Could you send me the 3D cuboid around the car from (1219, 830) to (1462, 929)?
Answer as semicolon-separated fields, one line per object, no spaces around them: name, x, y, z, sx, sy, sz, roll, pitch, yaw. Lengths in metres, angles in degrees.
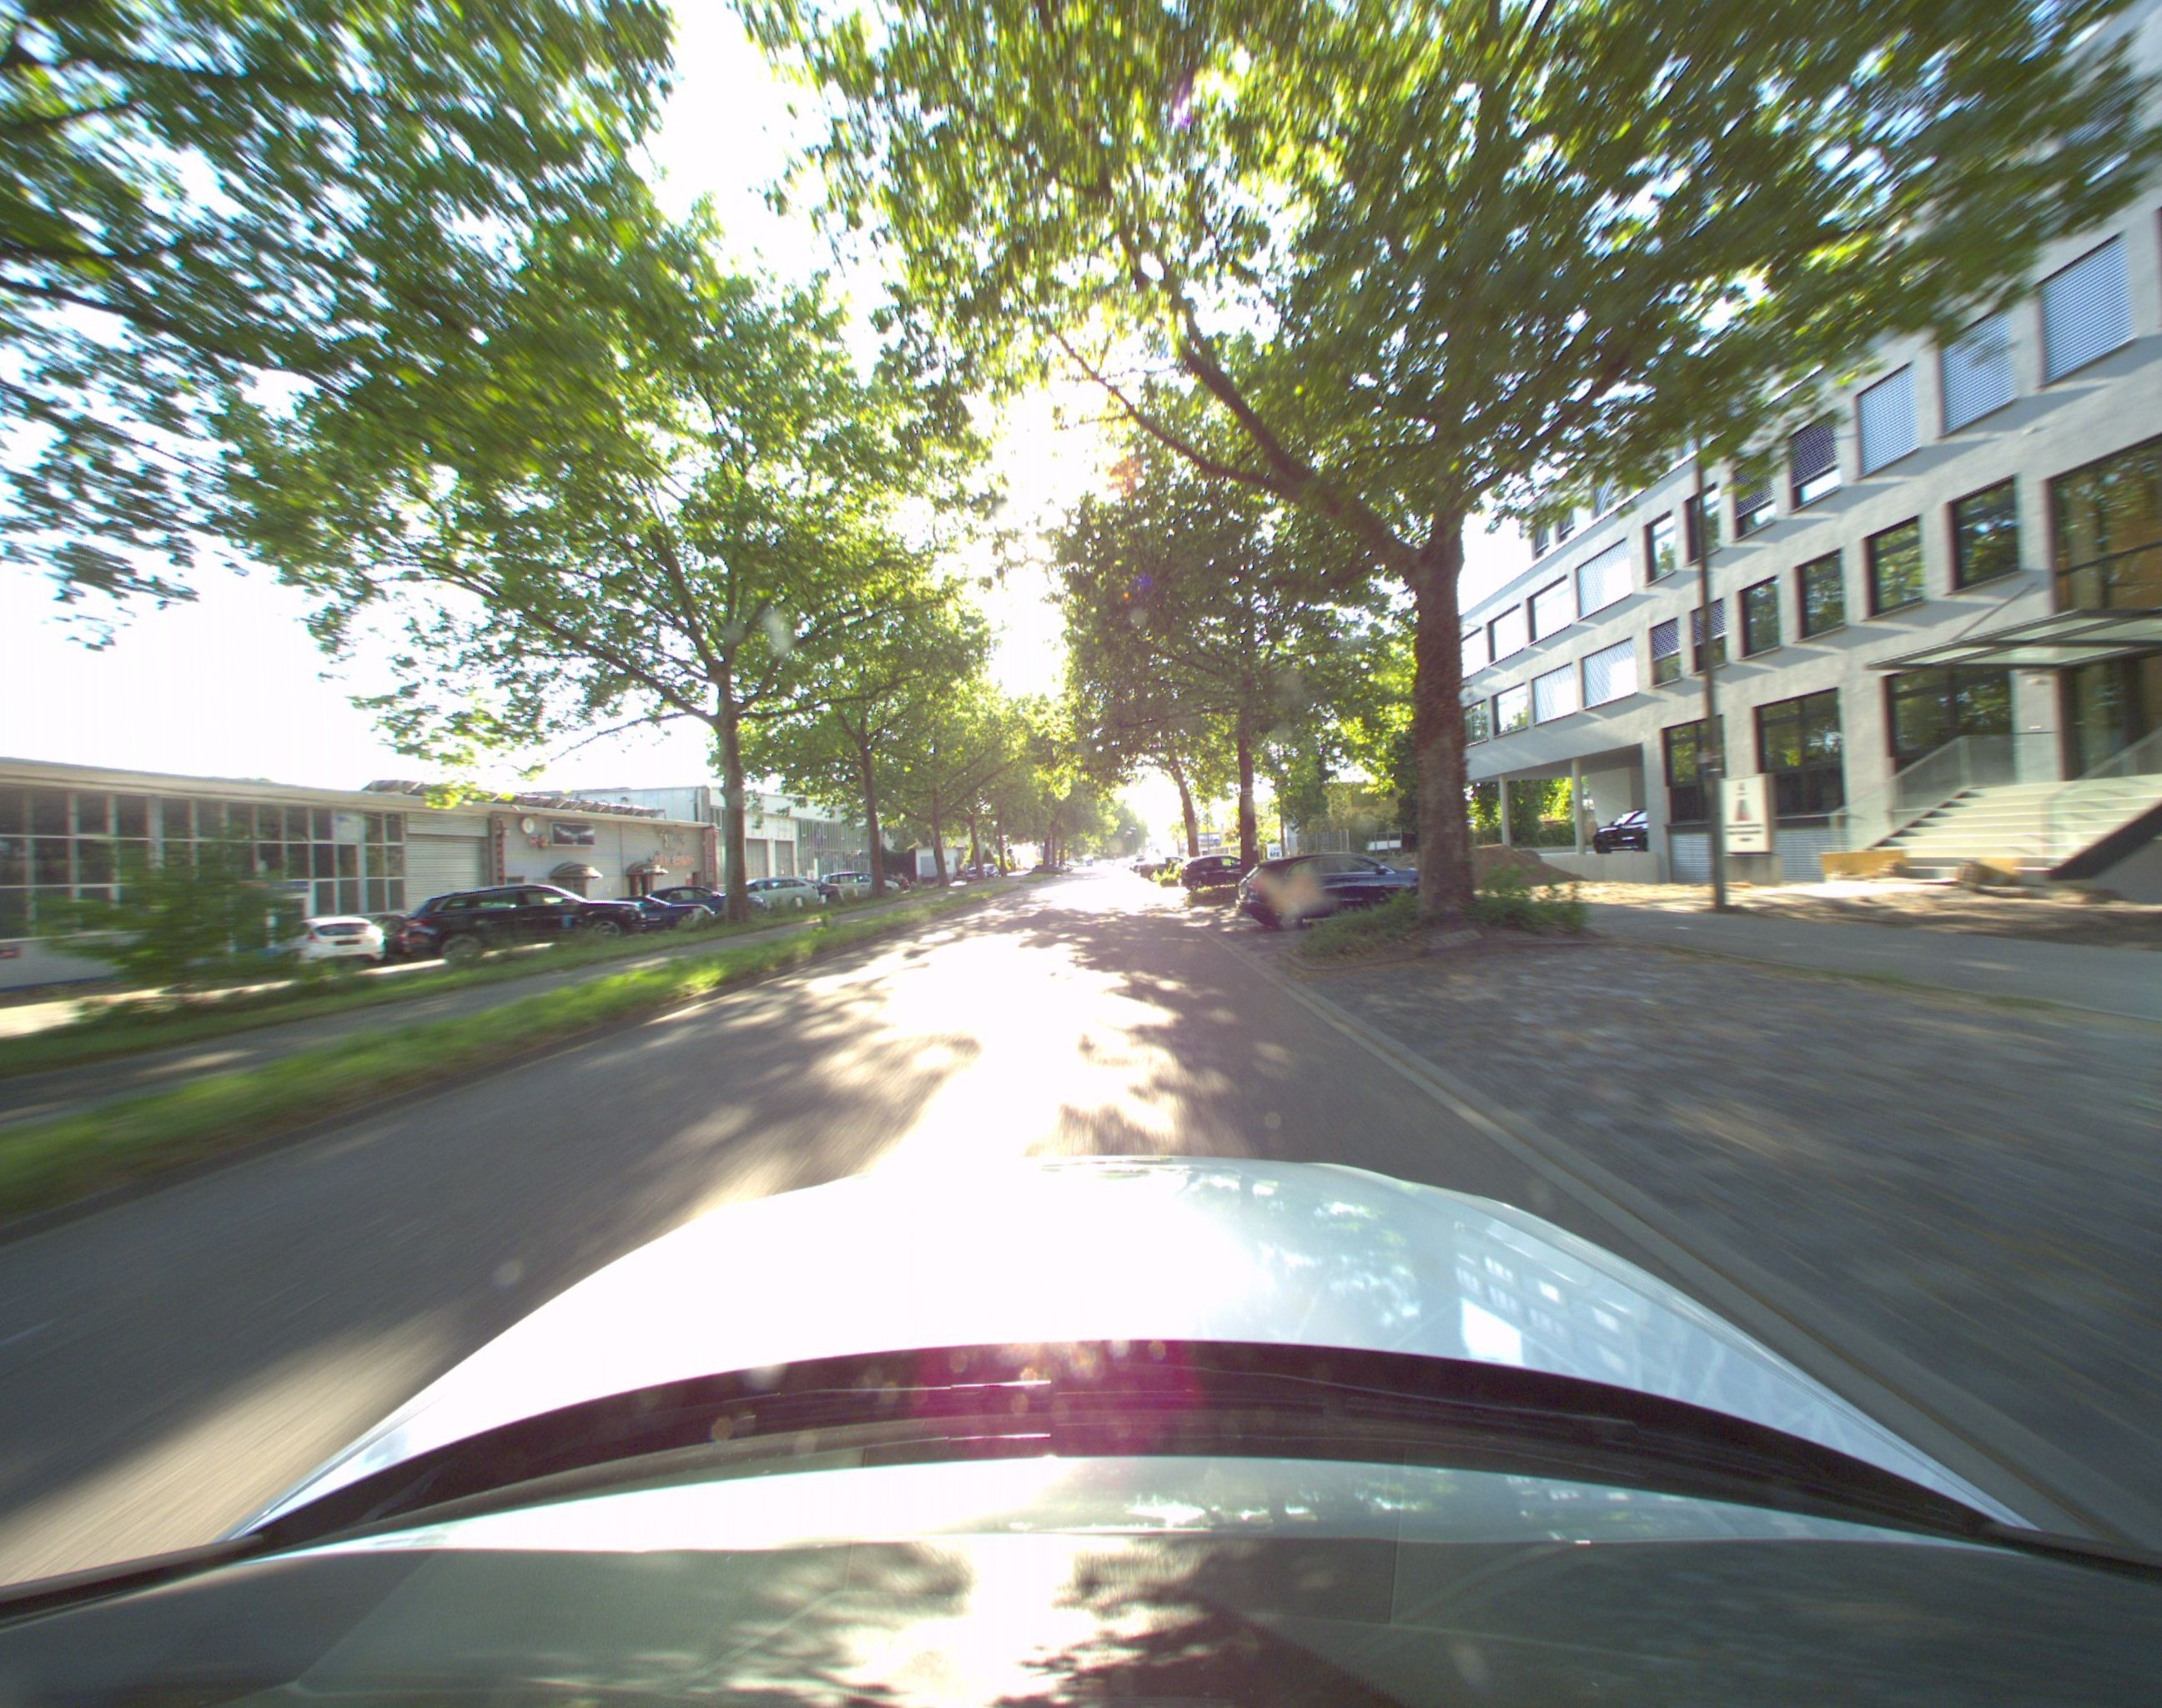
car;5.149;0.516;16.600;4.271;1.486;1.860;-6;-2;-1

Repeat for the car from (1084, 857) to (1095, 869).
car;1.938;1.943;180.132;2.120;2.659;7.003;-2;-1;1

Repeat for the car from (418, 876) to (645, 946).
car;-12.914;1.265;19.343;4.281;1.452;1.978;1;-2;-37

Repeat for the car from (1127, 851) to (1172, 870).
car;7.396;0.706;88.541;4.611;1.712;1.999;-5;-2;-1

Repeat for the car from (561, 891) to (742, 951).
car;-12.112;1.824;23.079;4.281;1.452;1.978;1;-2;-37

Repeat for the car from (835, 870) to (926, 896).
car;-11.167;1.596;45.582;4.507;1.306;1.976;-1;-1;-40

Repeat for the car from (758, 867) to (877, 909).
car;-10.863;1.362;33.798;1.975;1.629;4.287;-2;-2;44

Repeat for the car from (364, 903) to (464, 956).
car;-20.331;2.243;24.799;3.255;1.407;1.719;-2;-2;39

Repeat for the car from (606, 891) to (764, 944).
car;-12.639;1.962;26.097;4.281;1.452;1.978;1;-2;-37

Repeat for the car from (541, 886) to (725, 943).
car;-12.482;1.632;22.780;4.281;1.382;1.978;1;-2;-37

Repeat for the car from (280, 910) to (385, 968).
car;-21.111;2.348;22.950;3.255;1.385;1.563;-1;-2;36

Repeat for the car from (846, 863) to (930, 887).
car;-11.506;1.228;48.668;4.507;1.306;1.976;-1;-1;-40

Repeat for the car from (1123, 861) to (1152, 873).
car;9.428;2.133;135.882;4.581;1.580;2.001;-5;-2;3

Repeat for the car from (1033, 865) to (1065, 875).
car;-4.772;2.355;122.442;4.584;1.422;2.000;-1;-1;0

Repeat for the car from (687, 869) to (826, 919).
car;-11.820;1.419;29.820;1.975;1.699;4.287;-2;-2;45

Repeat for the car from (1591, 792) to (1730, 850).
car;20.283;-1.082;28.794;1.983;1.732;4.676;0;-2;7

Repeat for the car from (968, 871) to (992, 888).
car;-9.845;2.474;79.642;1.989;1.370;3.916;-6;-1;-3

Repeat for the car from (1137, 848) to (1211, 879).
car;6.121;0.634;54.058;4.558;1.715;1.941;-4;-2;-3

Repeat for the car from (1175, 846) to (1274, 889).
car;6.044;0.580;34.539;3.773;1.486;1.860;-5;-2;-1

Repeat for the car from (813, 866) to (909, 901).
car;-11.586;1.537;42.962;4.503;1.731;1.978;1;-2;-36

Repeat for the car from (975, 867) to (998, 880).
car;-11.014;2.288;95.091;1.985;1.576;4.276;0;-2;3
